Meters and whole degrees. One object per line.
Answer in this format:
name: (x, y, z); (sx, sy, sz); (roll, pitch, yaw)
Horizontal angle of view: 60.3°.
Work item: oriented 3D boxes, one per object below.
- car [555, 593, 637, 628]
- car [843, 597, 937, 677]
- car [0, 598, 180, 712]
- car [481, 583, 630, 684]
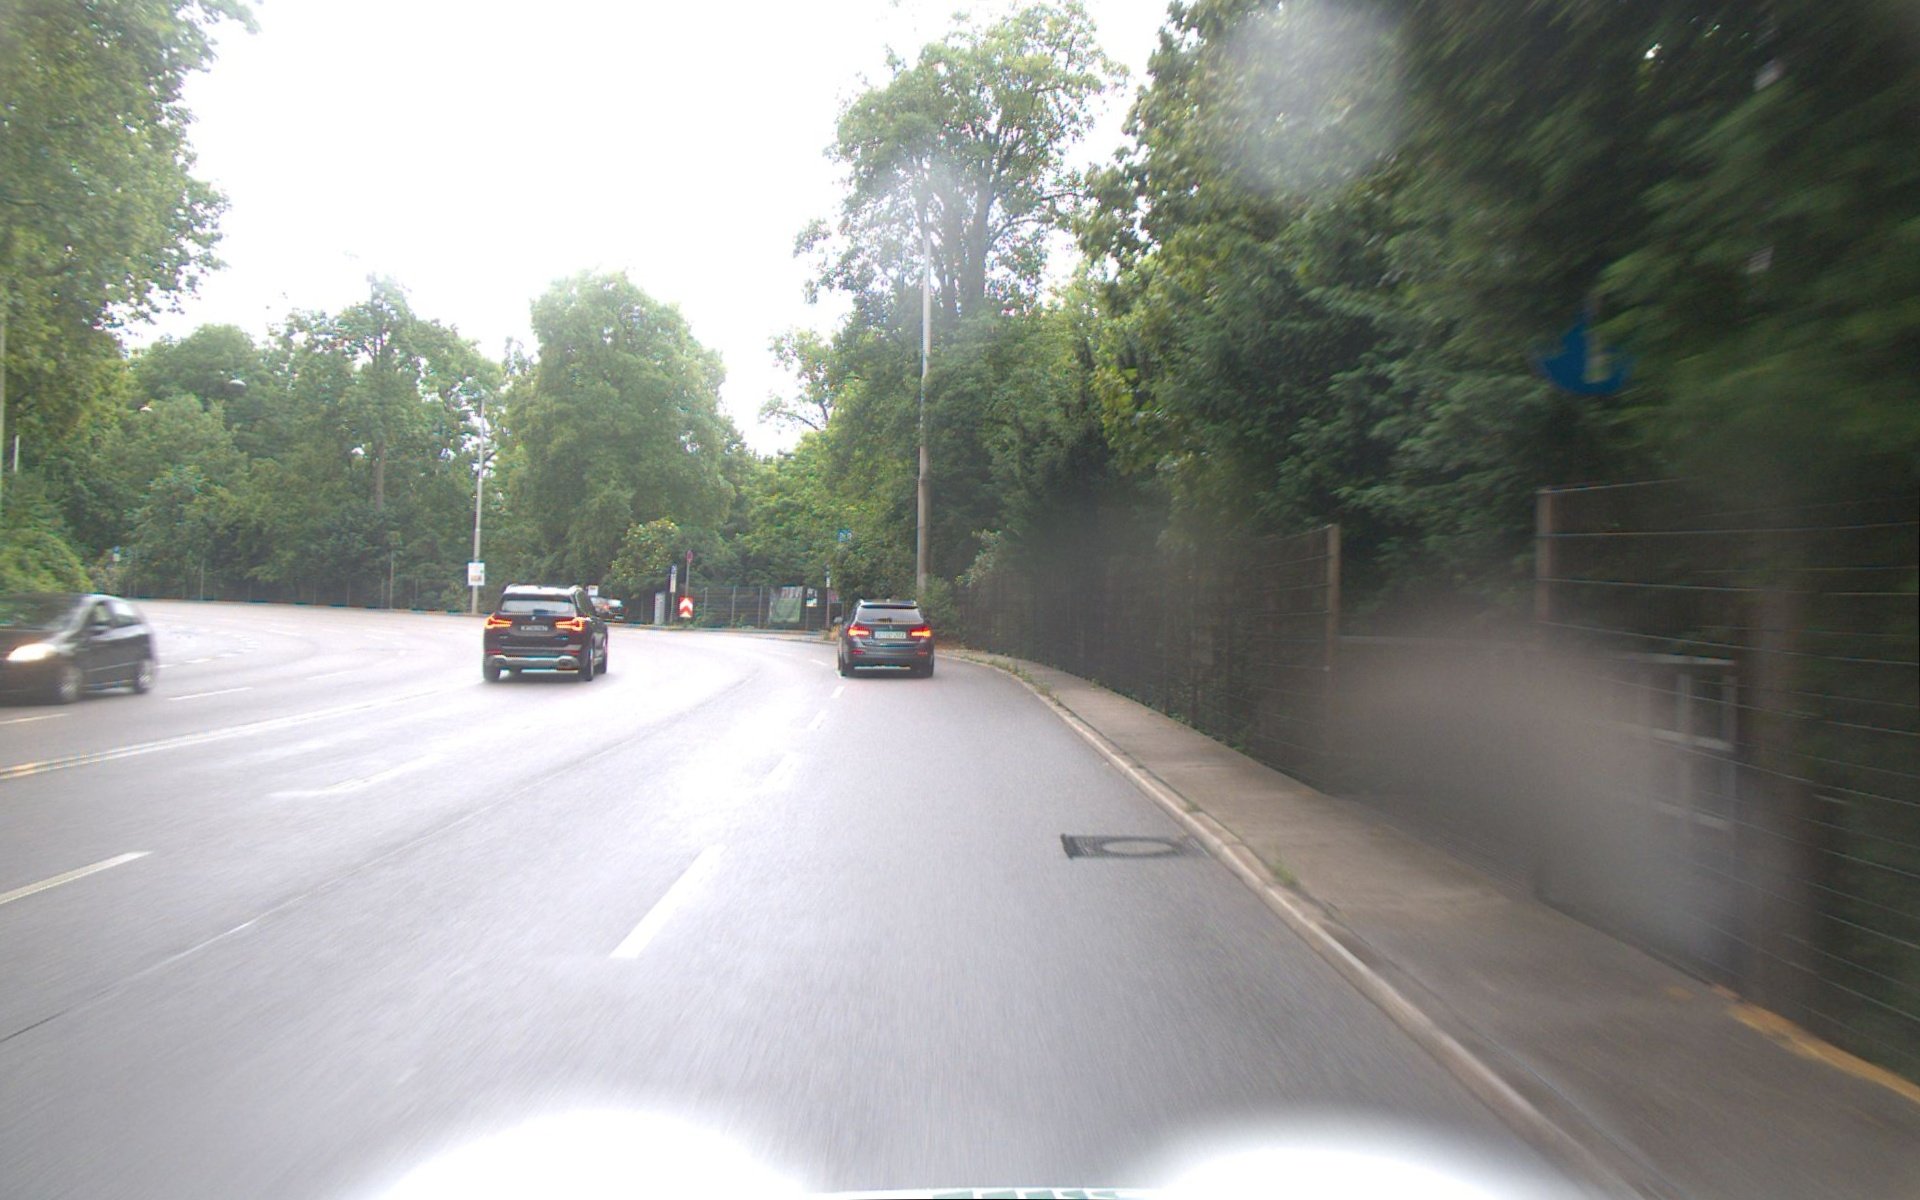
car: (-17.919, 0.520, 81.373); (4.293, 1.451, 1.682); (2, -3, 42)
car: (-1.404, 0.675, 32.725); (1.722, 1.457, 4.409); (1, 0, -3)
car: (-12.211, 0.675, 22.272); (1.667, 1.363, 3.913); (1, 0, -3)
car: (-7.239, 0.557, 30.023); (1.722, 1.613, 4.410); (3, 0, -3)
